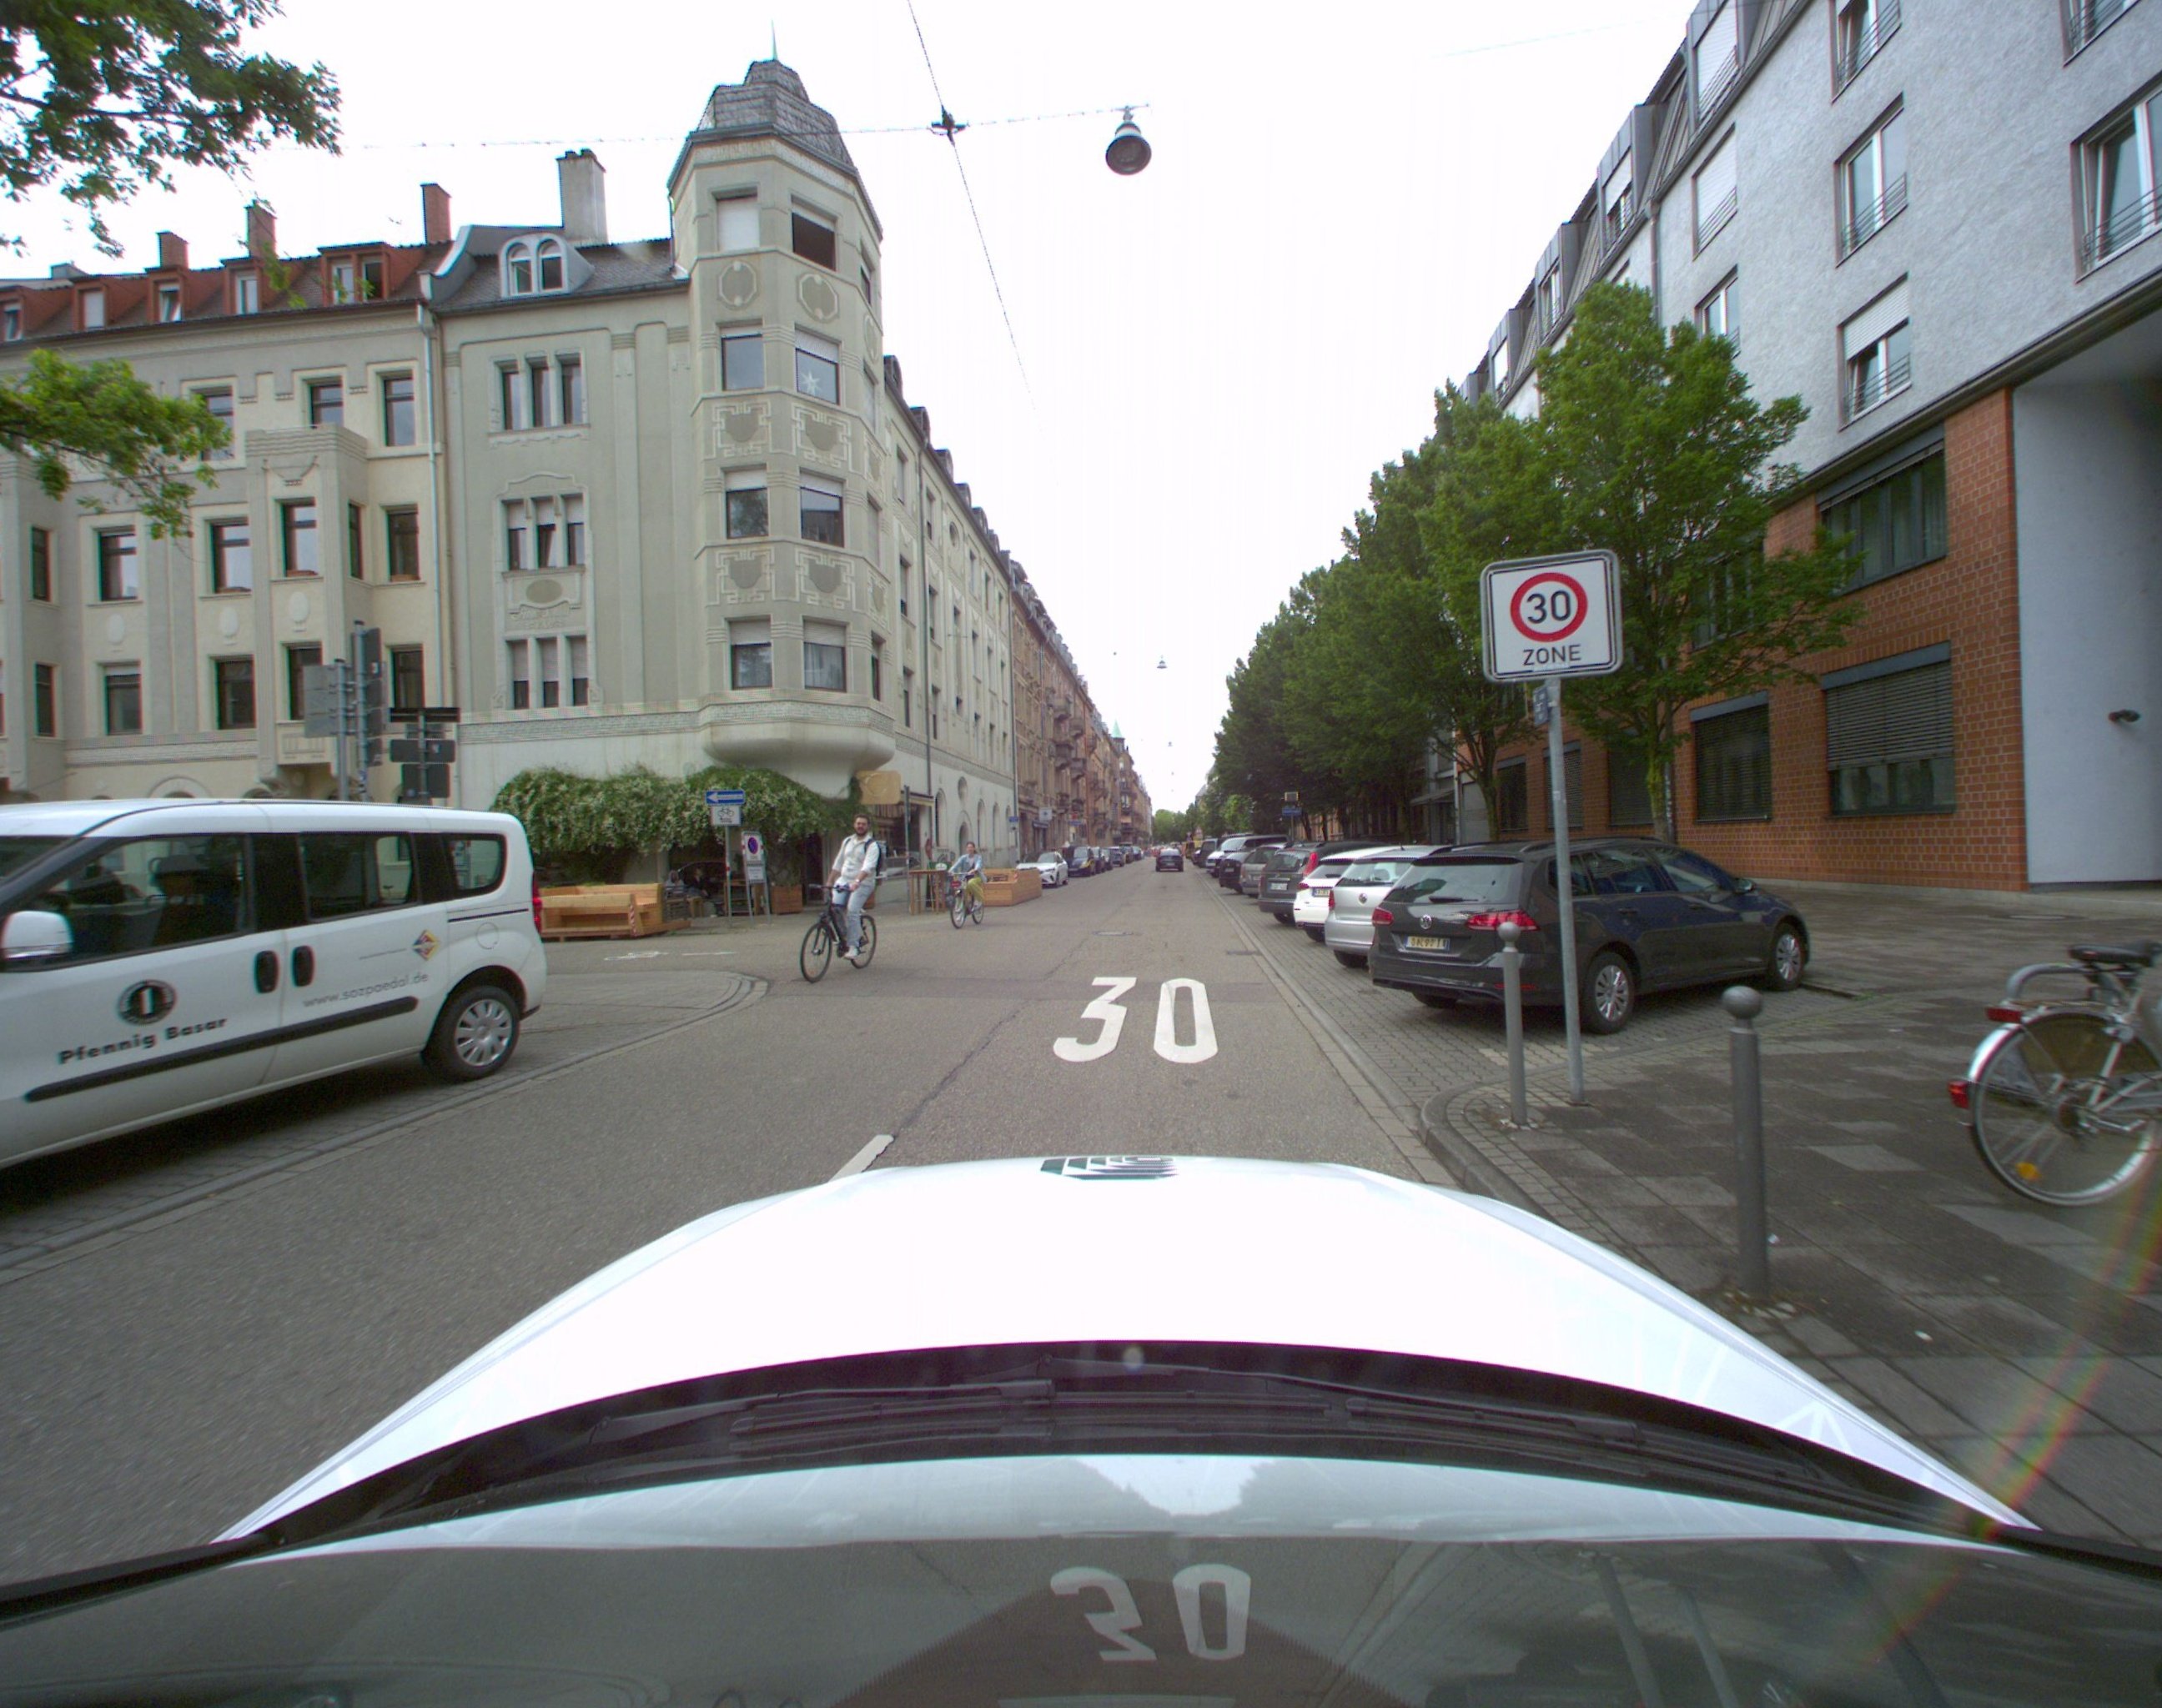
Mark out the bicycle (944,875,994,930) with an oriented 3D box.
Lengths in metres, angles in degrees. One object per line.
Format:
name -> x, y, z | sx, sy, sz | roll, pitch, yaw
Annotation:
bicycle -> -2.192, 0.928, 16.155 | 0.532, 0.977, 1.868 | -2, -1, 6

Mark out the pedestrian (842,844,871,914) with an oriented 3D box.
pedestrian -> -5.652, 0.628, 20.501 | 0.582, 1.734, 0.501 | -1, -1, -30

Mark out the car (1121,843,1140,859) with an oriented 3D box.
car -> 5.848, -0.335, 95.411 | 1.934, 1.738, 3.950 | -2, 0, 6

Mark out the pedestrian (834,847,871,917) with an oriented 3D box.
pedestrian -> -5.528, 0.684, 19.716 | 0.573, 1.660, 0.579 | -2, -1, 27

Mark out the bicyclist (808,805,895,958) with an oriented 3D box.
bicyclist -> -2.909, 0.337, 10.398 | 0.777, 1.866, 0.716 | -2, 0, 8

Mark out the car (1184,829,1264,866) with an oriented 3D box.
car -> 10.544, -0.463, 59.907 | 5.396, 2.373, 1.940 | -3, 0, -15

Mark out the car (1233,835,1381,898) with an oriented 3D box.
car -> 6.731, 0.345, 24.192 | 4.070, 1.585, 1.755 | -3, 0, -28

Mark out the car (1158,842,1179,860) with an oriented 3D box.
car -> 8.635, -0.233, 80.535 | 1.984, 1.681, 4.006 | -2, -1, 5

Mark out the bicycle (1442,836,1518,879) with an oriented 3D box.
bicycle -> 10.862, 0.093, 22.213 | 1.744, 1.092, 0.566 | -2, -1, 5

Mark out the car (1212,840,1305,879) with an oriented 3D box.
car -> 8.074, 0.242, 37.060 | 3.873, 1.505, 1.755 | -3, 0, -28

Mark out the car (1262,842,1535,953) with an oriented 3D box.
car -> 5.090, 0.588, 13.060 | 3.993, 1.543, 1.860 | -1, 0, -25

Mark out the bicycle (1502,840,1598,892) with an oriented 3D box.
bicycle -> 10.337, 0.269, 17.994 | 1.744, 1.092, 0.566 | -2, -1, 5

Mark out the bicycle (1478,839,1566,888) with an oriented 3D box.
bicycle -> 10.470, 0.237, 19.379 | 1.744, 1.092, 0.566 | -2, -1, 5

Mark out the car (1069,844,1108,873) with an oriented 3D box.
car -> 0.484, 0.256, 49.944 | 1.934, 1.617, 3.950 | -1, 0, 6

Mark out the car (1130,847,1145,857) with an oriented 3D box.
car -> 7.637, -0.283, 110.267 | 1.985, 1.321, 4.003 | -2, -1, 3

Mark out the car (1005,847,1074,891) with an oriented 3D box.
car -> -1.592, 0.567, 32.947 | 1.933, 1.553, 3.827 | -3, 0, 9

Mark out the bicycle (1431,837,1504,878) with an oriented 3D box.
bicycle -> 10.896, 0.103, 23.015 | 1.744, 1.092, 0.566 | -2, -1, 5

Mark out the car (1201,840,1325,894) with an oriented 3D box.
car -> 6.053, 0.412, 26.936 | 3.879, 1.505, 1.752 | -3, 0, -34

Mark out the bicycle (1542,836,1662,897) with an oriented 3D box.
bicycle -> 10.057, 0.244, 15.773 | 1.885, 1.092, 0.544 | -2, -1, 5

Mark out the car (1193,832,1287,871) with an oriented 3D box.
car -> 9.528, -0.165, 48.748 | 5.418, 1.992, 1.933 | -3, 0, -28

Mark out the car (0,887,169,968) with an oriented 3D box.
car -> -24.120, 1.715, 18.985 | 3.800, 1.556, 1.701 | -3, 3, 4

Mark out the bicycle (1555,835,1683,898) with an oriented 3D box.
bicycle -> 9.994, 0.238, 15.169 | 1.923, 1.092, 0.578 | -2, -1, 5

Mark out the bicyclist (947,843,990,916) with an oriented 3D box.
bicyclist -> -2.219, 0.495, 16.164 | 0.665, 1.399, 0.784 | -2, -1, 3

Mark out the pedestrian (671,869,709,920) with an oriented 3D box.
pedestrian -> -9.578, 0.981, 19.962 | 0.575, 1.197, 0.556 | -2, 1, 6

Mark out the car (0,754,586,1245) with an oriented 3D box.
car -> -5.078, 0.585, 4.128 | 1.833, 1.939, 4.559 | -2, 1, 8

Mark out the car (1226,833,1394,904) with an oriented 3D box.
car -> 6.089, 0.349, 21.628 | 4.066, 1.585, 1.757 | -3, 0, -25

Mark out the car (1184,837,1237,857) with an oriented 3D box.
car -> 14.094, -0.763, 88.336 | 5.411, 1.868, 1.935 | -3, 0, -24

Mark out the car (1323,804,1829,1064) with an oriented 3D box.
car -> 4.505, 0.505, 7.324 | 4.297, 1.578, 1.847 | -5, 0, -27

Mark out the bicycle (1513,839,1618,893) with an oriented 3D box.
bicycle -> 10.299, 0.258, 17.364 | 1.827, 1.092, 0.566 | -2, -1, 5

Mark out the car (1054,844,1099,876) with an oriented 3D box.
car -> -0.195, 0.304, 44.502 | 1.934, 1.617, 3.950 | -1, 0, 6

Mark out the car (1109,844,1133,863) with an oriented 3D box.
car -> 3.850, -0.078, 77.886 | 1.934, 1.741, 3.950 | -1, 0, 6

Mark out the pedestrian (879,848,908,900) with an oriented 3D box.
pedestrian -> -5.969, 0.628, 25.937 | 0.746, 1.593, 0.614 | -1, -1, -24

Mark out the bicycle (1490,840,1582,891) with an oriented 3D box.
bicycle -> 10.459, 0.265, 18.770 | 1.744, 1.092, 0.566 | -2, -1, 5

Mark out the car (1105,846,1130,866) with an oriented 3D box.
car -> 3.183, 0.174, 71.123 | 1.934, 1.617, 3.949 | -1, 0, 6

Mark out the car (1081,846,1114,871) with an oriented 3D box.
car -> 1.192, 0.296, 57.048 | 1.934, 1.617, 3.949 | -1, 0, 6

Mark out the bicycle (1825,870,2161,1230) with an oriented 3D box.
bicycle -> 4.047, 0.654, 3.032 | 1.876, 1.141, 0.612 | -3, -1, 3

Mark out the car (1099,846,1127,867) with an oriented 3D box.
car -> 2.630, 0.201, 66.071 | 1.934, 1.617, 3.949 | -2, 0, 6

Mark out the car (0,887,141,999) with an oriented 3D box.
car -> -16.343, 1.303, 12.031 | 3.337, 1.483, 1.473 | -2, -1, 4

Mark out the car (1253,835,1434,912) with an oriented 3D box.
car -> 6.165, 0.406, 19.013 | 4.073, 1.486, 1.666 | -3, 0, -30

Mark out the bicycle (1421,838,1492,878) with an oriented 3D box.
bicycle -> 10.934, 0.111, 23.743 | 1.744, 1.092, 0.566 | -2, -1, 5

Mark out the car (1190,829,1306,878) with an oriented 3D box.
car -> 8.386, -0.039, 40.709 | 5.639, 2.127, 1.933 | -3, 0, -28

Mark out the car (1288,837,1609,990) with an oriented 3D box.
car -> 4.547, 0.597, 10.038 | 3.576, 1.498, 1.828 | -2, 1, -29

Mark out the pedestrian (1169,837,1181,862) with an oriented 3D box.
pedestrian -> 8.050, -0.363, 69.680 | 0.887, 2.146, 1.029 | -2, -1, 5

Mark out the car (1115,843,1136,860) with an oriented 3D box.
car -> 4.858, -0.307, 88.667 | 1.934, 1.744, 3.950 | -1, 0, 6

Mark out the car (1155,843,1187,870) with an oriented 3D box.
car -> 5.884, 0.182, 53.527 | 1.984, 1.681, 4.006 | -2, -1, 5

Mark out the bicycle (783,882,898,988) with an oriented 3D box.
bicycle -> -2.931, 0.947, 10.150 | 0.564, 1.087, 1.991 | -2, 1, 8

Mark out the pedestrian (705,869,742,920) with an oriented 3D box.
pedestrian -> -8.715, 0.972, 19.876 | 0.575, 1.197, 0.556 | -2, 1, 6

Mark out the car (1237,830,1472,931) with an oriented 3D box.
car -> 5.278, 0.444, 15.697 | 4.067, 1.585, 1.888 | -3, 0, -25
